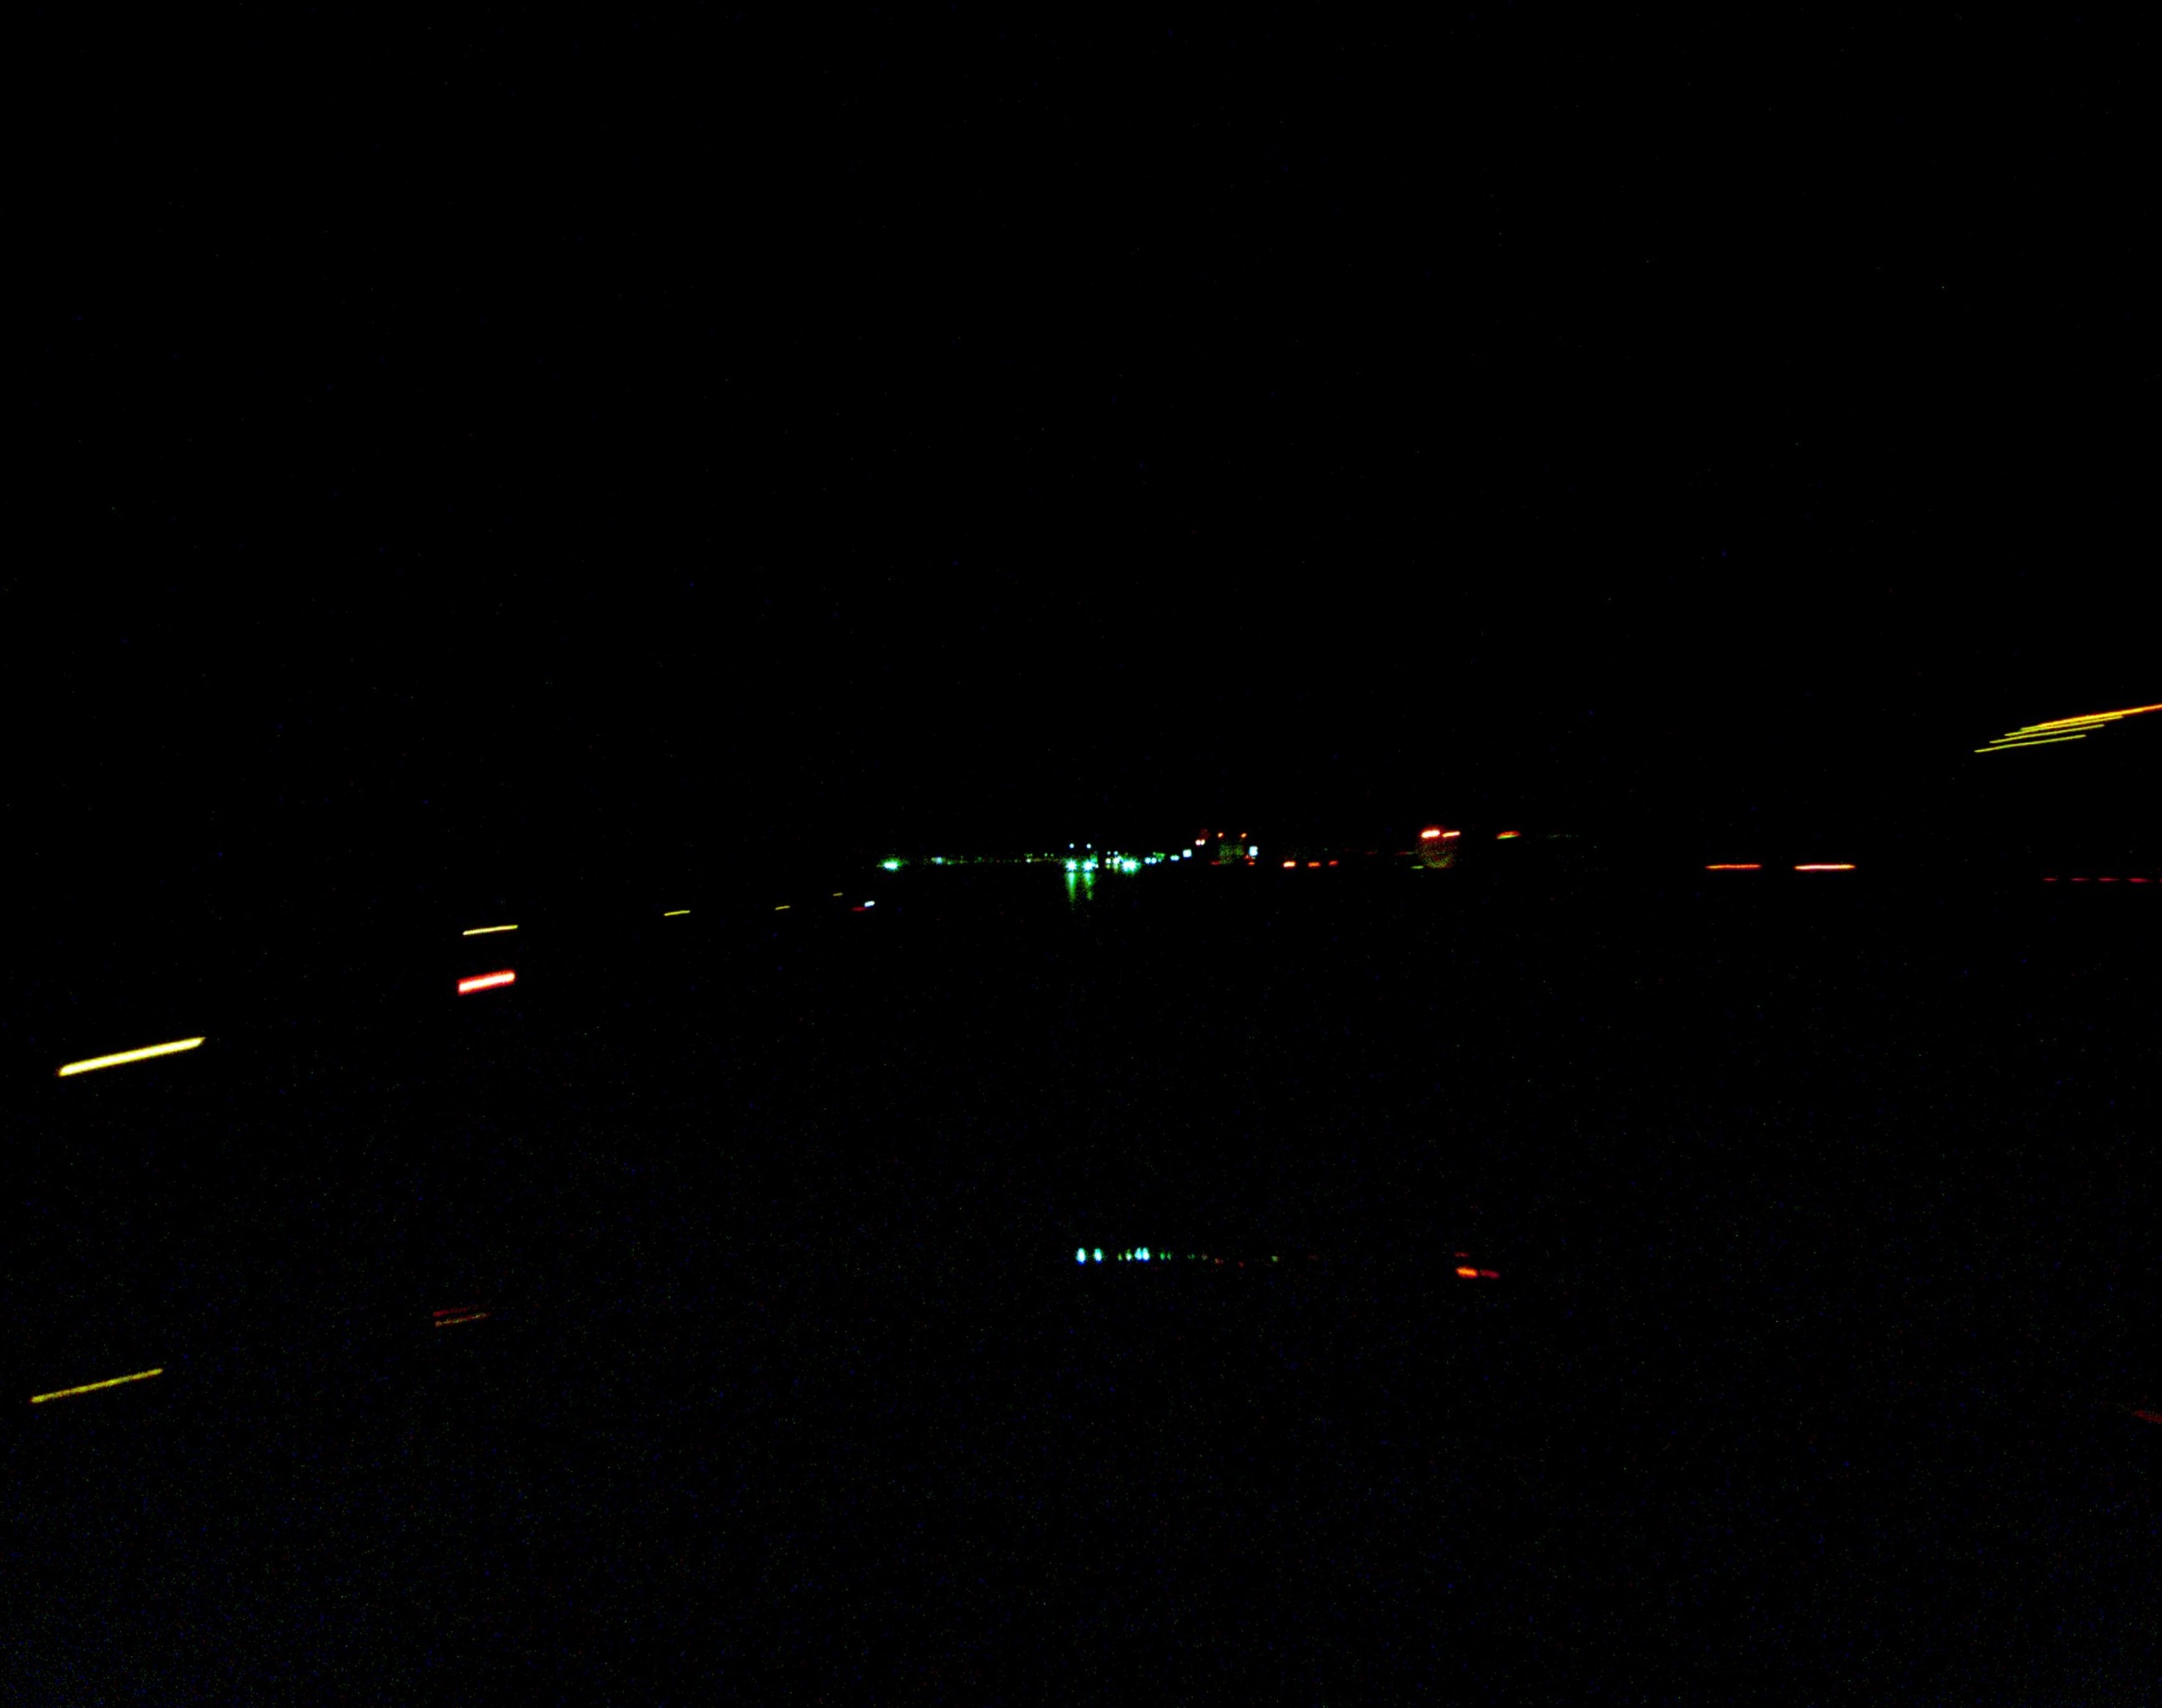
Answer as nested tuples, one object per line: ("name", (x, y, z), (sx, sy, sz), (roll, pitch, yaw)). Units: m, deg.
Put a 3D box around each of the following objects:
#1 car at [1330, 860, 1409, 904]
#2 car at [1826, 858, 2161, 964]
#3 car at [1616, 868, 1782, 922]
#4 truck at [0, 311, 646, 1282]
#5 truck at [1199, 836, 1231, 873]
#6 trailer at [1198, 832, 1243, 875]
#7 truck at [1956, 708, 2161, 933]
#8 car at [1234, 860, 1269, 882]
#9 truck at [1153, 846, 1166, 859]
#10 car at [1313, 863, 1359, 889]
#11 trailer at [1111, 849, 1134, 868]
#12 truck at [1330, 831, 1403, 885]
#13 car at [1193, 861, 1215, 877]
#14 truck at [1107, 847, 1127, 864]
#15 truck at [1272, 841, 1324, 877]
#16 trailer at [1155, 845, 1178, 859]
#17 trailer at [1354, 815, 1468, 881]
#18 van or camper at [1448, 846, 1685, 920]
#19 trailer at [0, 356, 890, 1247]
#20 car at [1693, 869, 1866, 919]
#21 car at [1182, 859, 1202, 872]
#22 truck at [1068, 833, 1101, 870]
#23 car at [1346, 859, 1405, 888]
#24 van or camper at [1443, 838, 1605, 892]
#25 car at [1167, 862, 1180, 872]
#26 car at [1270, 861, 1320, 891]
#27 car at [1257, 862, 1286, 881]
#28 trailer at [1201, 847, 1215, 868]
("car", (10.587, 0.988, 28.143), (1.662, 1.462, 4.001), (-1, 0, 4))
("car", (14.801, 0.768, 12.111), (1.801, 1.346, 4.240), (-1, 0, 2))
("car", (18.049, 1.141, 22.469), (1.574, 1.346, 4.240), (-1, 0, 2))
("truck", (-5.930, -0.242, 3.969), (2.869, 4.053, 7.511), (0, 0, 1))
("truck", (15.549, -0.014, 88.659), (3.115, 4.074, 7.078), (-3, 1, 7))
("trailer", (14.883, -0.169, 81.819), (3.097, 4.065, 12.450), (-3, 1, 4))
("truck", (17.925, -0.556, 11.140), (2.409, 3.493, 6.724), (-2, 0, 0))
("car", (10.961, 1.058, 49.076), (1.574, 1.346, 4.001), (-1, 0, 4))
("truck", (25.148, -0.468, 244.584), (2.895, 3.949, 4.006), (-1, 2, 24))
("car", (14.674, 1.232, 43.939), (1.574, 1.346, 4.001), (-1, 0, 4))
("trailer", (11.142, 1.224, 203.174), (2.878, 3.910, 12.895), (-3, 3, 17))
("truck", (18.369, 0.209, 49.306), (2.650, 3.201, 5.795), (-3, 1, 2))
("car", (11.353, 1.358, 70.250), (1.574, 1.346, 4.001), (-1, 0, 4))
("truck", (9.407, 0.367, 197.597), (2.871, 3.818, 8.060), (-5, 2, 17))
("truck", (19.033, 0.447, 67.195), (2.563, 2.941, 8.173), (-1, 0, 3))
("trailer", (28.434, -0.686, 251.766), (2.835, 3.952, 15.787), (-1, 1, 24))
("trailer", (18.100, -0.344, 42.472), (2.612, 3.157, 9.003), (-3, 1, 2))
("van or camper", (10.338, 0.540, 16.831), (1.825, 1.346, 5.352), (-1, 0, 0))
("trailer", (-5.799, -0.211, 10.076), (2.861, 4.043, 13.206), (0, 0, 1))
("car", (22.343, 1.225, 24.578), (1.801, 1.346, 4.240), (-1, 0, 2))
("car", (12.025, 1.238, 82.700), (1.878, 1.418, 4.515), (-1, 0, 6))
("truck", (0.652, -0.464, 95.547), (3.490, 4.111, 18.706), (-2, 1, 2))
("car", (14.420, 0.922, 37.392), (1.574, 1.346, 4.001), (-1, 0, 4))
("van or camper", (18.362, 0.422, 32.175), (2.193, 2.002, 7.640), (-1, 0, -2))
("car", (14.420, 2.036, 118.419), (1.837, 1.544, 4.515), (0, 0, 8))
("car", (10.521, 1.049, 37.575), (1.574, 1.346, 4.001), (-1, 0, 4))
("car", (14.256, 1.283, 57.028), (1.573, 1.346, 4.002), (-1, 0, 6))
("trailer", (29.101, 0.720, 174.760), (2.844, 4.438, 14.532), (2, 0, 8))
